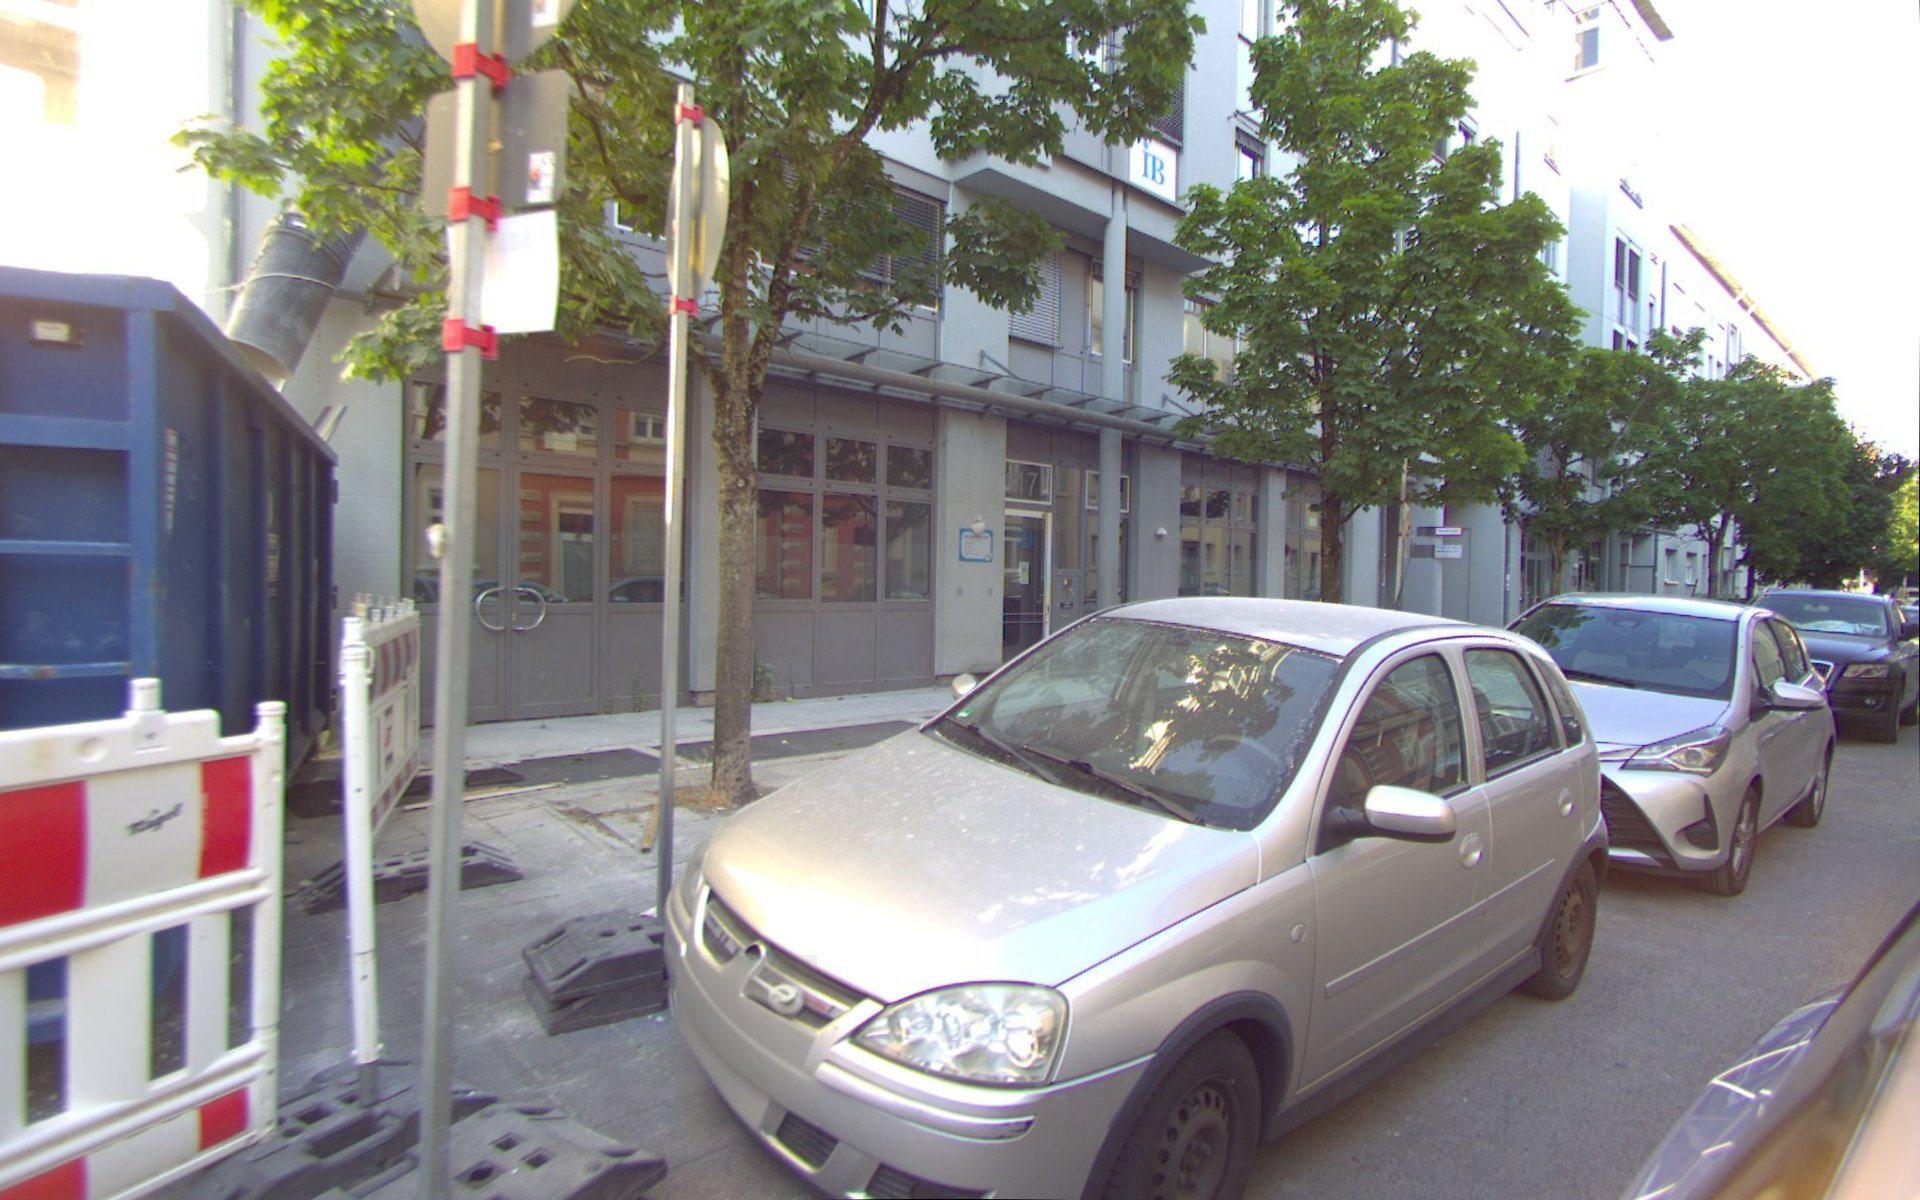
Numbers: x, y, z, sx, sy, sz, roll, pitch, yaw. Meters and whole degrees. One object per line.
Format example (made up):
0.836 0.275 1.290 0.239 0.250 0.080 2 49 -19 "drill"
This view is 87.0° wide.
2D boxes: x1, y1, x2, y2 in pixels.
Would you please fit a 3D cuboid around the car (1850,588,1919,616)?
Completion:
59.565 0.114 64.602 1.967 1.584 3.991 0 3 -44 "car"

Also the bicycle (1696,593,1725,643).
18.766 0.426 25.319 0.519 1.182 1.717 3 3 36 "bicycle"

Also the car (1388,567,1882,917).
4.518 0.619 6.533 3.902 1.543 1.680 0 3 -42 "car"

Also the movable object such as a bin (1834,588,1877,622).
39.759 0.210 44.946 1.202 1.454 1.286 0 2 -43 "movable object such as a bin"

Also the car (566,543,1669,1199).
0.818 0.628 3.433 3.663 1.494 1.680 0 3 -40 "car"

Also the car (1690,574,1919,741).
10.744 0.560 12.542 4.359 1.642 1.888 0 3 -43 "car"

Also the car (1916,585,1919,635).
34.448 0.375 34.935 4.645 1.655 1.873 0 3 -45 "car"

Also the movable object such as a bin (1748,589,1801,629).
28.846 0.311 35.848 1.120 1.337 1.263 0 2 -43 "movable object such as a bin"

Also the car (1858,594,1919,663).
22.372 0.640 23.548 4.272 1.446 1.766 0 3 -43 "car"

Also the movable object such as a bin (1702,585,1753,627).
27.794 0.196 36.645 1.120 1.454 1.263 0 2 -43 "movable object such as a bin"

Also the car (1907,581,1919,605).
96.485 -0.693 100.671 2.147 2.311 6.135 3 3 33 "car"
